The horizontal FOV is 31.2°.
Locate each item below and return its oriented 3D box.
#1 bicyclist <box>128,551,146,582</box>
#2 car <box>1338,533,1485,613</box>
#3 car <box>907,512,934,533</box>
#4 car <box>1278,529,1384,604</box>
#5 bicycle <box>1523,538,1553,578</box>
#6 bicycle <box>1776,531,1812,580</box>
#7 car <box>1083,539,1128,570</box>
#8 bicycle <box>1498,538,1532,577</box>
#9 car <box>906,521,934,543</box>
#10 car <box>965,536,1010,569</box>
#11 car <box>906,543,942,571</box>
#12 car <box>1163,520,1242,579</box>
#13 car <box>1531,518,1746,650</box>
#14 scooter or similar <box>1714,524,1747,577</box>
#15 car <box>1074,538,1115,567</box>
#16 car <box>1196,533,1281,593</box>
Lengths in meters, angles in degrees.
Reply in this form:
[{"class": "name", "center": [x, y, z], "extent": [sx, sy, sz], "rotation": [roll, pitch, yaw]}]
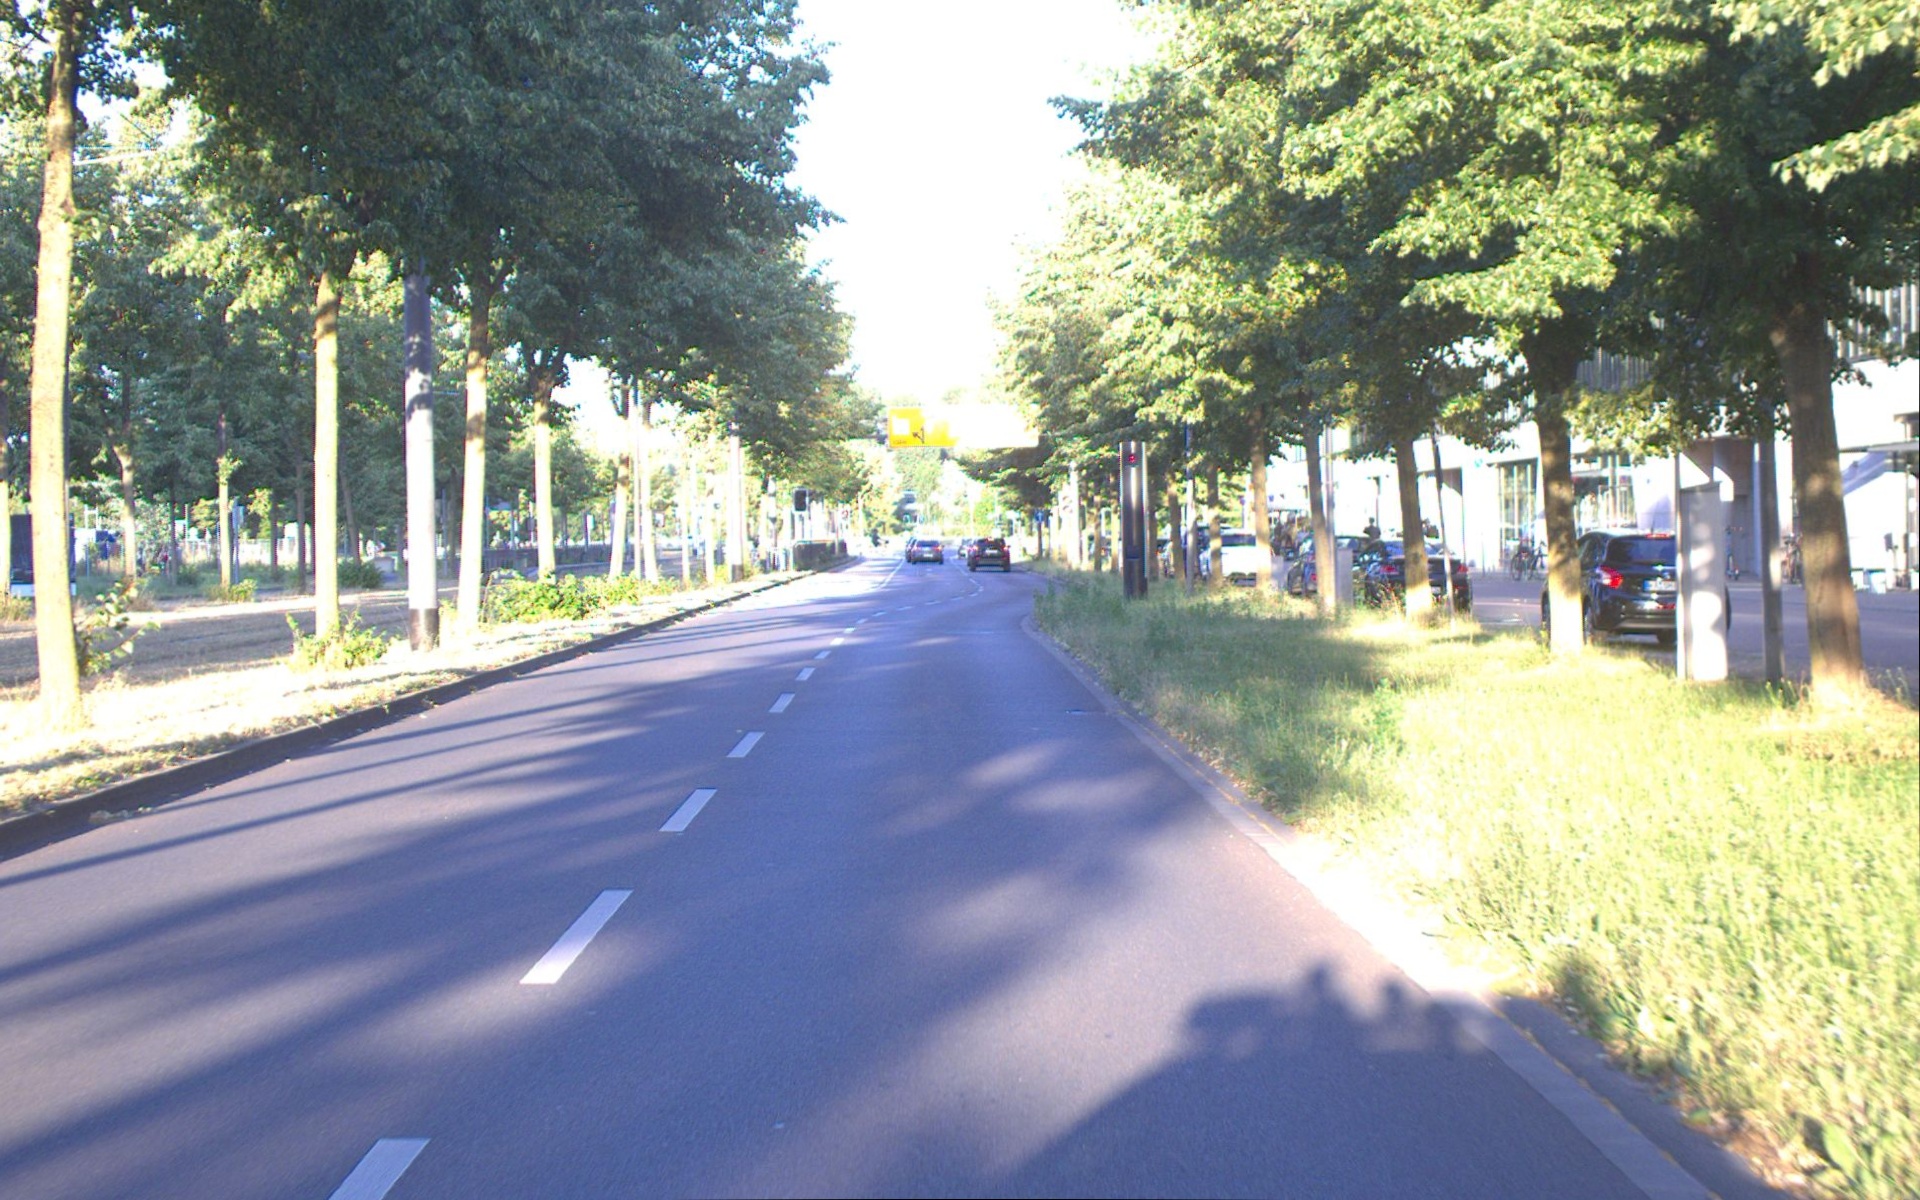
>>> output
[{"class": "bicyclist", "center": [-38.093, -1.573, 159.206], "extent": [0.619, 1.416, 0.937], "rotation": [-1, 1, -2]}, {"class": "car", "center": [8.254, -0.522, 63.177], "extent": [1.852, 1.362, 4.835], "rotation": [-1, 1, -2]}, {"class": "car", "center": [-2.981, -5.805, 258.356], "extent": [1.911, 1.481, 4.000], "rotation": [-1, 1, -1]}, {"class": "car", "center": [7.846, -0.729, 72.896], "extent": [1.709, 1.510, 3.759], "rotation": [1, 1, -2]}, {"class": "bicycle", "center": [15.263, -1.118, 90.837], "extent": [0.470, 1.036, 1.807], "rotation": [-1, 1, 0]}, {"class": "bicycle", "center": [17.861, -0.956, 73.602], "extent": [0.454, 1.024, 1.392], "rotation": [-1, 1, 26]}, {"class": "car", "center": [6.891, -2.165, 162.991], "extent": [1.777, 1.467, 4.289], "rotation": [-1, 1, -2]}, {"class": "bicycle", "center": [14.695, -1.130, 91.109], "extent": [0.594, 1.036, 1.892], "rotation": [-1, 1, 0]}, {"class": "car", "center": [-2.840, -4.812, 244.202], "extent": [1.911, 1.481, 4.000], "rotation": [-1, 1, -1]}, {"class": "car", "center": [1.235, -2.135, 154.585], "extent": [1.911, 1.481, 4.000], "rotation": [0, 1, -1]}, {"class": "car", "center": [-1.996, -2.389, 190.550], "extent": [1.911, 1.481, 4.000], "rotation": [-1, 1, -1]}, {"class": "car", "center": [7.761, -1.623, 110.489], "extent": [1.993, 1.845, 4.666], "rotation": [-1, 1, -2]}, {"class": "car", "center": [8.324, -0.233, 42.514], "extent": [1.780, 1.489, 4.000], "rotation": [2, 1, 0]}, {"class": "scooter or similar", "center": [17.828, -1.156, 79.586], "extent": [0.472, 1.207, 1.229], "rotation": [-1, 1, 1]}, {"class": "car", "center": [6.969, -2.474, 178.349], "extent": [1.756, 1.461, 4.159], "rotation": [-1, 1, -3]}, {"class": "car", "center": [7.881, -1.065, 97.688], "extent": [1.993, 1.637, 4.878], "rotation": [-1, 1, 0]}]
